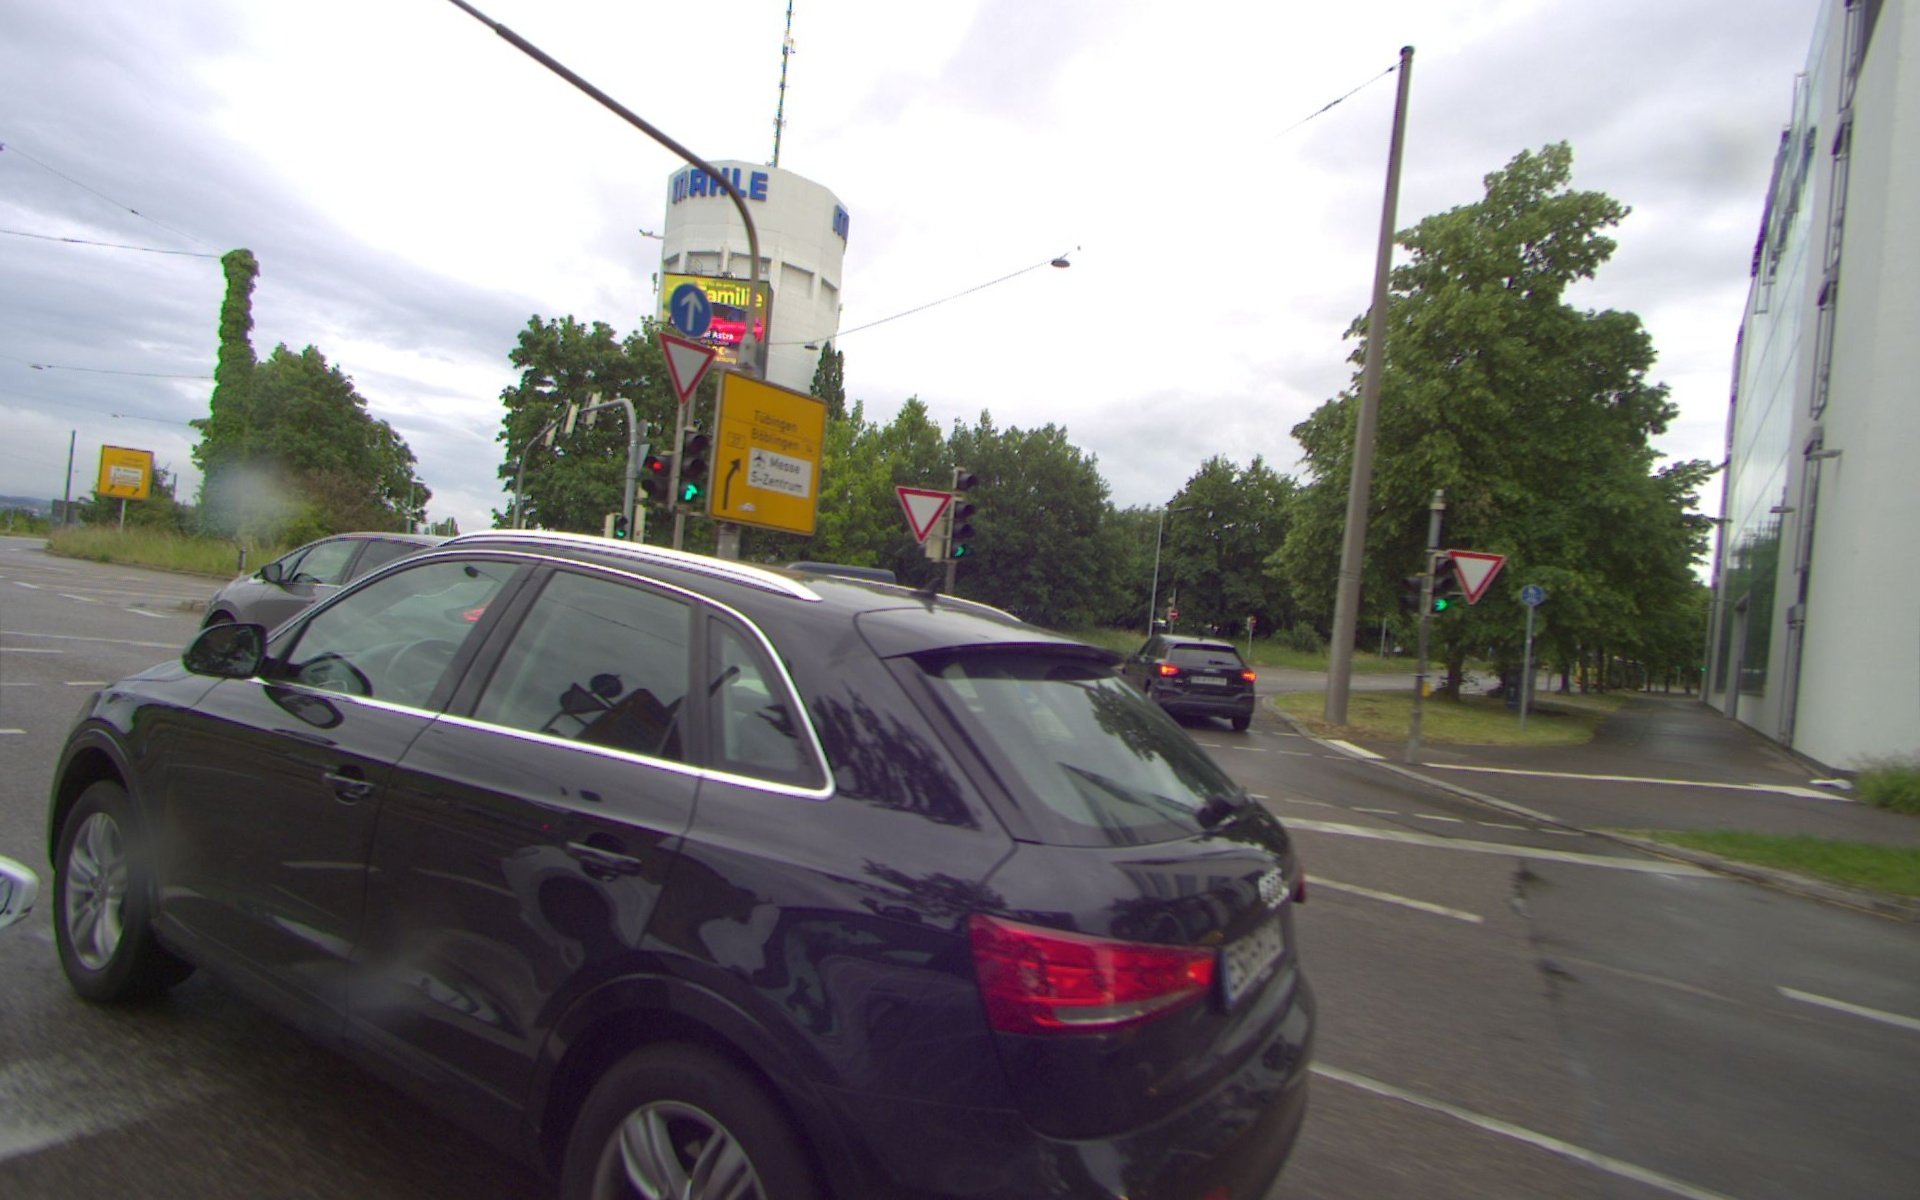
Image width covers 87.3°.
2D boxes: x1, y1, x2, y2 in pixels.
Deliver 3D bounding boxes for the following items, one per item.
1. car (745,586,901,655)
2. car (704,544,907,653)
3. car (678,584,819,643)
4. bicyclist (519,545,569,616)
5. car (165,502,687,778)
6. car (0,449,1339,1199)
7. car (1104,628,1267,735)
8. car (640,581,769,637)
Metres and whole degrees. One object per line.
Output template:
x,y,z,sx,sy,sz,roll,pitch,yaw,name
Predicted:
-3.979,0.605,29.463,4.025,1.586,1.855,8,-3,-35,car
-4.914,0.013,32.450,5.969,2.773,2.065,7,-2,-33,car
-7.225,0.482,34.548,4.342,1.538,1.714,8,-2,-35,car
-10.140,-0.481,24.519,0.803,1.602,1.015,8,-2,-31,bicyclist
-4.836,0.244,8.960,4.487,1.694,1.869,7,-1,30,car
-1.145,0.541,3.232,4.045,1.614,1.888,6,-2,31,car
3.952,1.379,18.368,1.836,1.516,4.150,4,0,-2,car
-9.384,0.345,37.067,4.111,1.582,1.852,8,-2,-38,car
